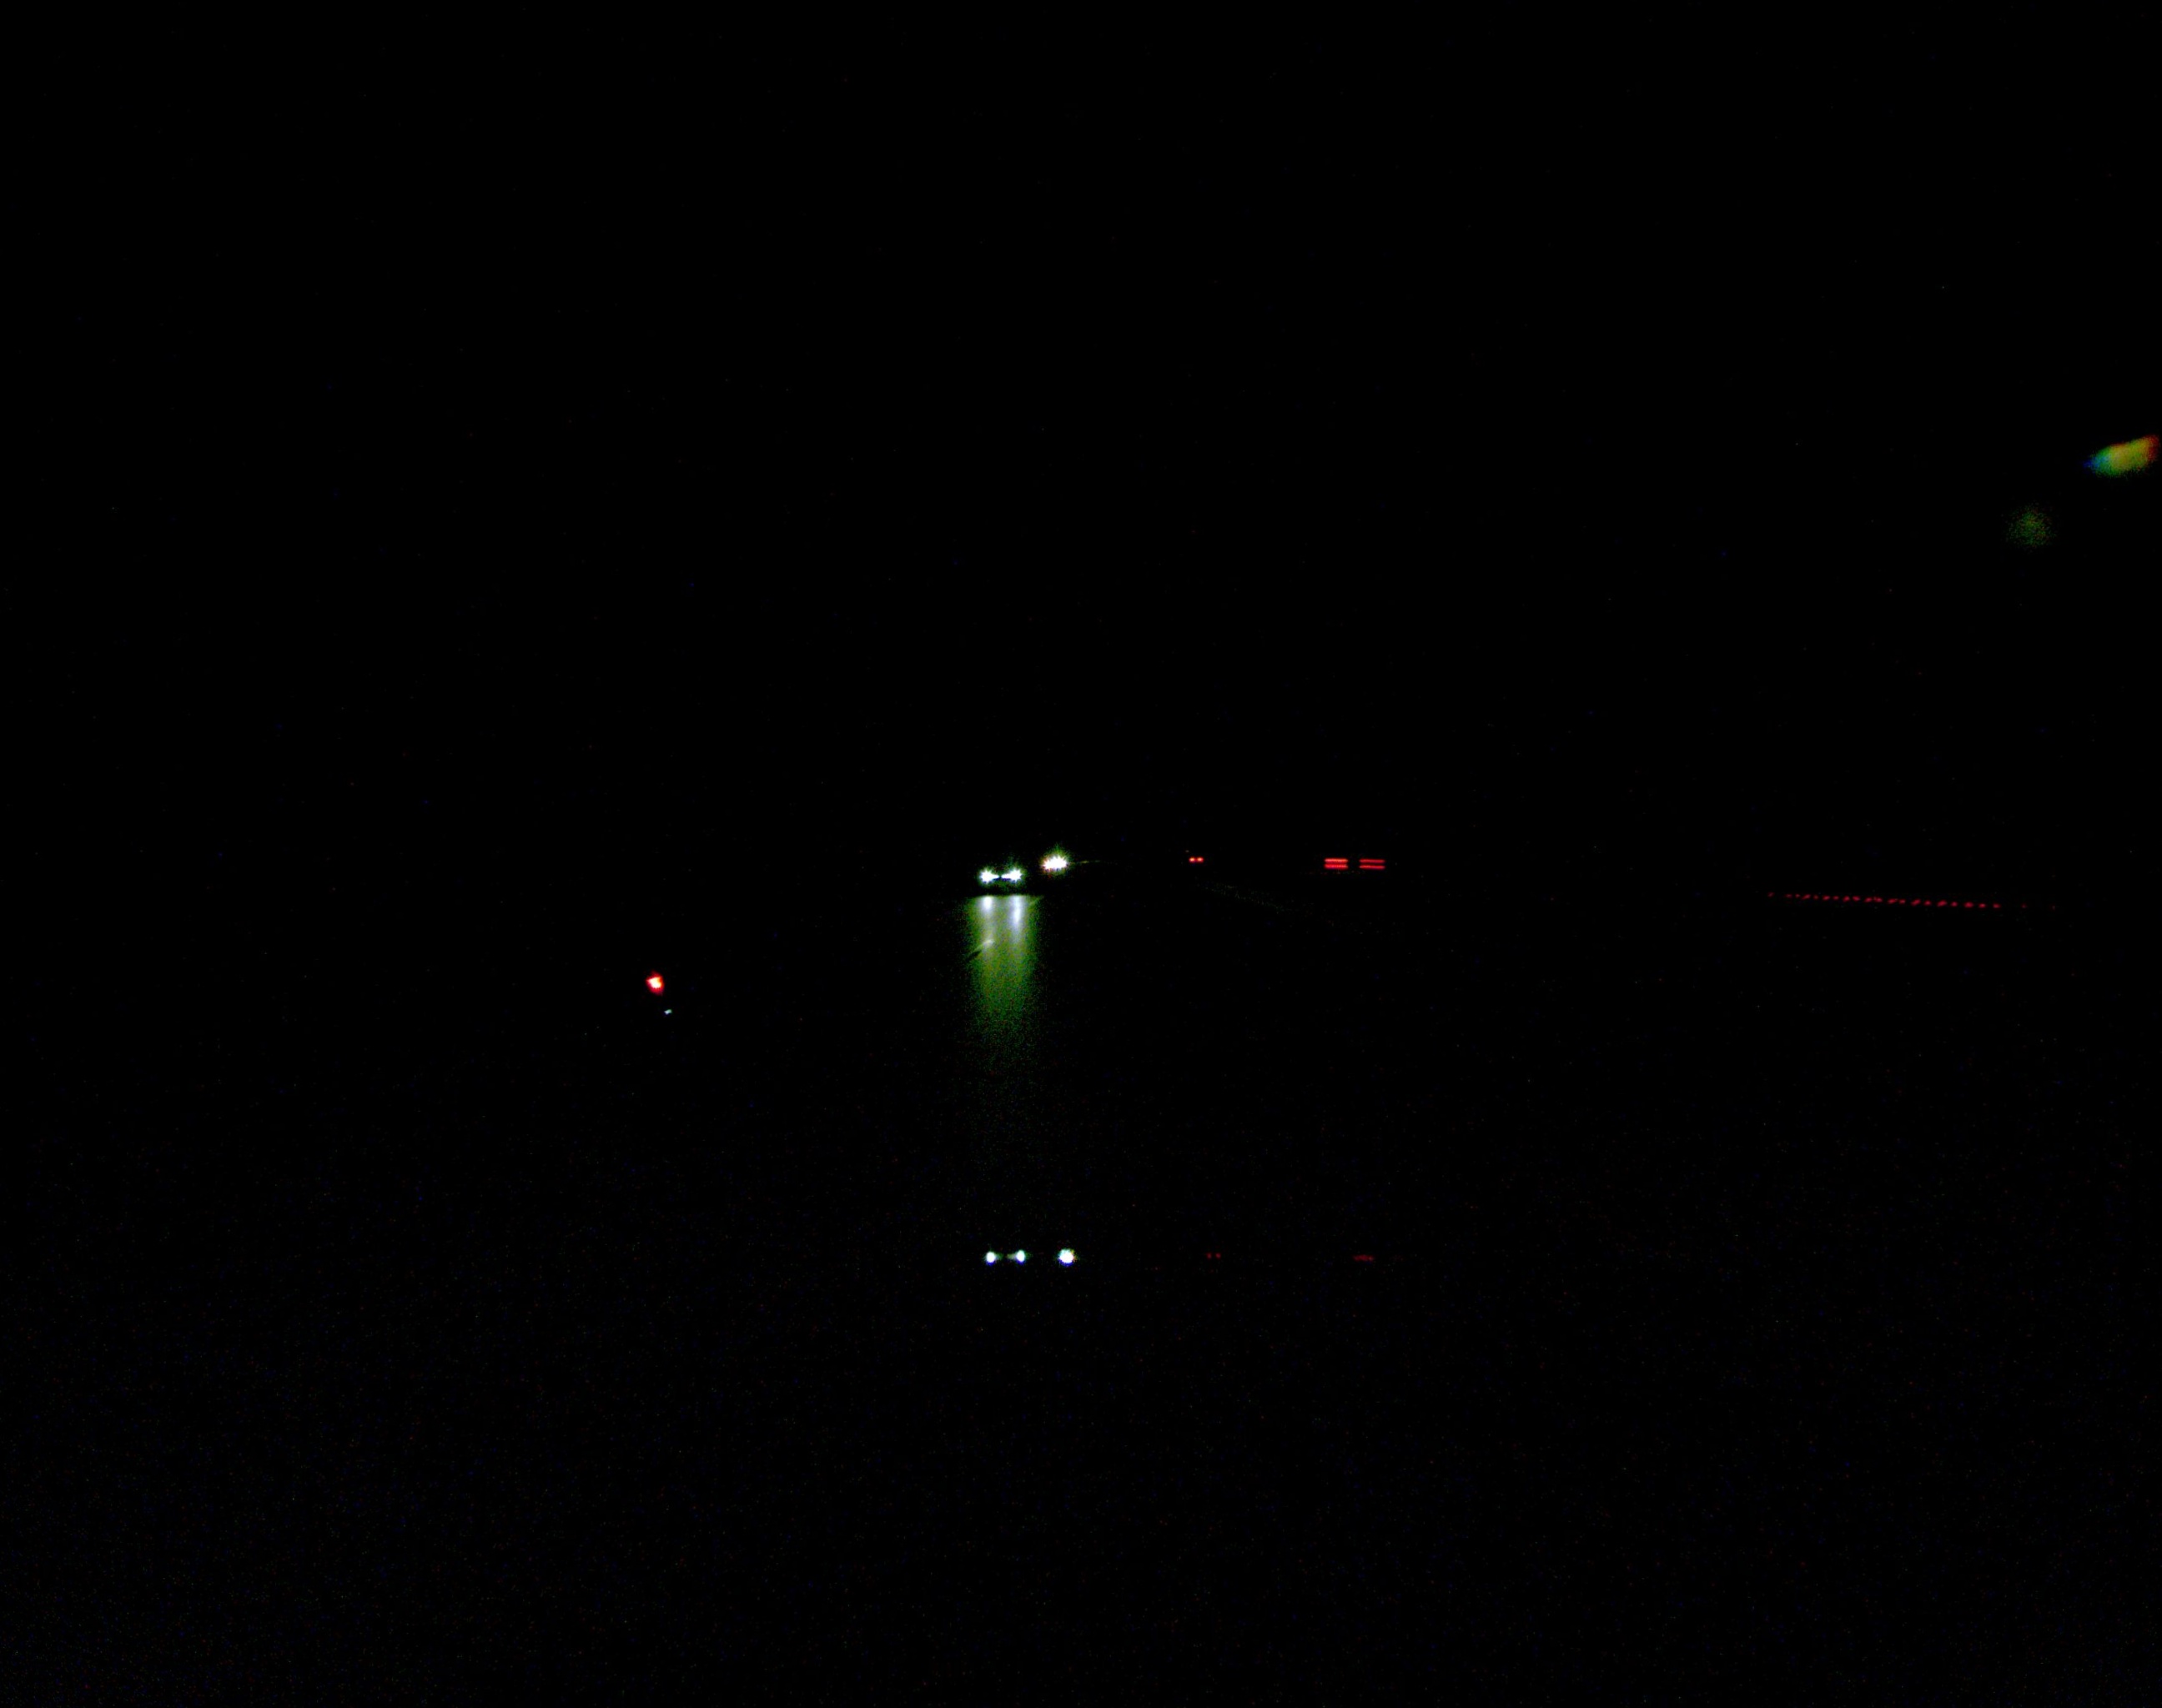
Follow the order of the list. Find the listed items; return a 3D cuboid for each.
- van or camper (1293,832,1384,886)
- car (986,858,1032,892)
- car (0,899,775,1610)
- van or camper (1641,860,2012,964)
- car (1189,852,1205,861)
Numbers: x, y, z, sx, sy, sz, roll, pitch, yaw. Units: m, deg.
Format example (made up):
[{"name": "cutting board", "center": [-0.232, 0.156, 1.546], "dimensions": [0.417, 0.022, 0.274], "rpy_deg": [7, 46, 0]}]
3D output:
[{"name": "van or camper", "center": [13.788, 0.214, 41.378], "dimensions": [2.335, 2.616, 7.776], "rpy_deg": [2, 1, 1]}, {"name": "car", "center": [-3.507, 0.984, 37.758], "dimensions": [1.795, 1.532, 4.225], "rpy_deg": [-1, 0, 1]}, {"name": "car", "center": [-3.299, 1.066, 3.879], "dimensions": [1.690, 1.405, 4.225], "rpy_deg": [-1, 0, 1]}, {"name": "van or camper", "center": [13.106, 0.894, 13.995], "dimensions": [1.784, 1.433, 5.102], "rpy_deg": [3, 0, 0]}, {"name": "car", "center": [19.055, 0.412, 124.990], "dimensions": [1.795, 1.532, 4.551], "rpy_deg": [2, 0, -1]}]
